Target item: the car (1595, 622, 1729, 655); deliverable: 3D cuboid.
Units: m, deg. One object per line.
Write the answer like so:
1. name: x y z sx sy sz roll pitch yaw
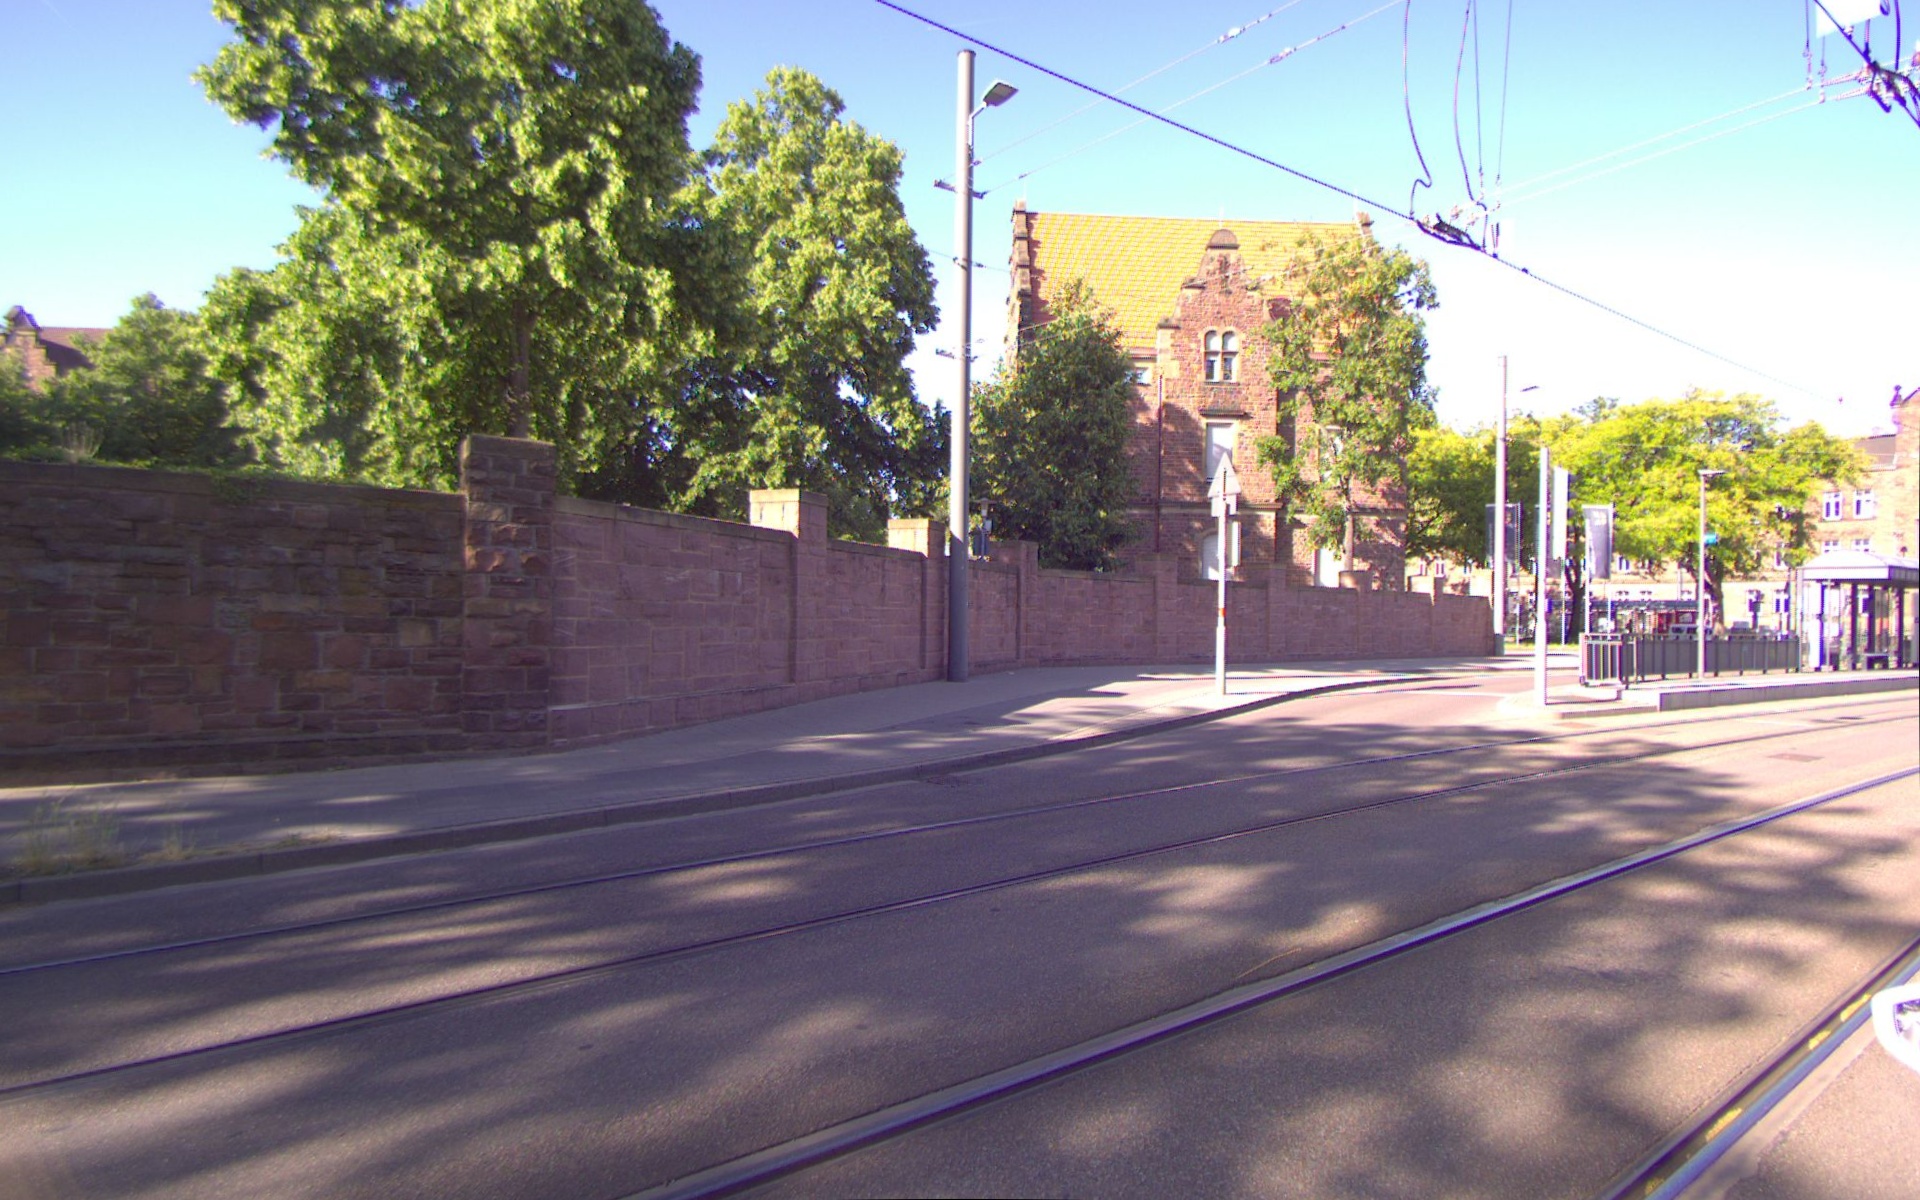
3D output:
1. car: 47.933 2.591 68.802 2.957 1.946 6.915 1 -1 -30
